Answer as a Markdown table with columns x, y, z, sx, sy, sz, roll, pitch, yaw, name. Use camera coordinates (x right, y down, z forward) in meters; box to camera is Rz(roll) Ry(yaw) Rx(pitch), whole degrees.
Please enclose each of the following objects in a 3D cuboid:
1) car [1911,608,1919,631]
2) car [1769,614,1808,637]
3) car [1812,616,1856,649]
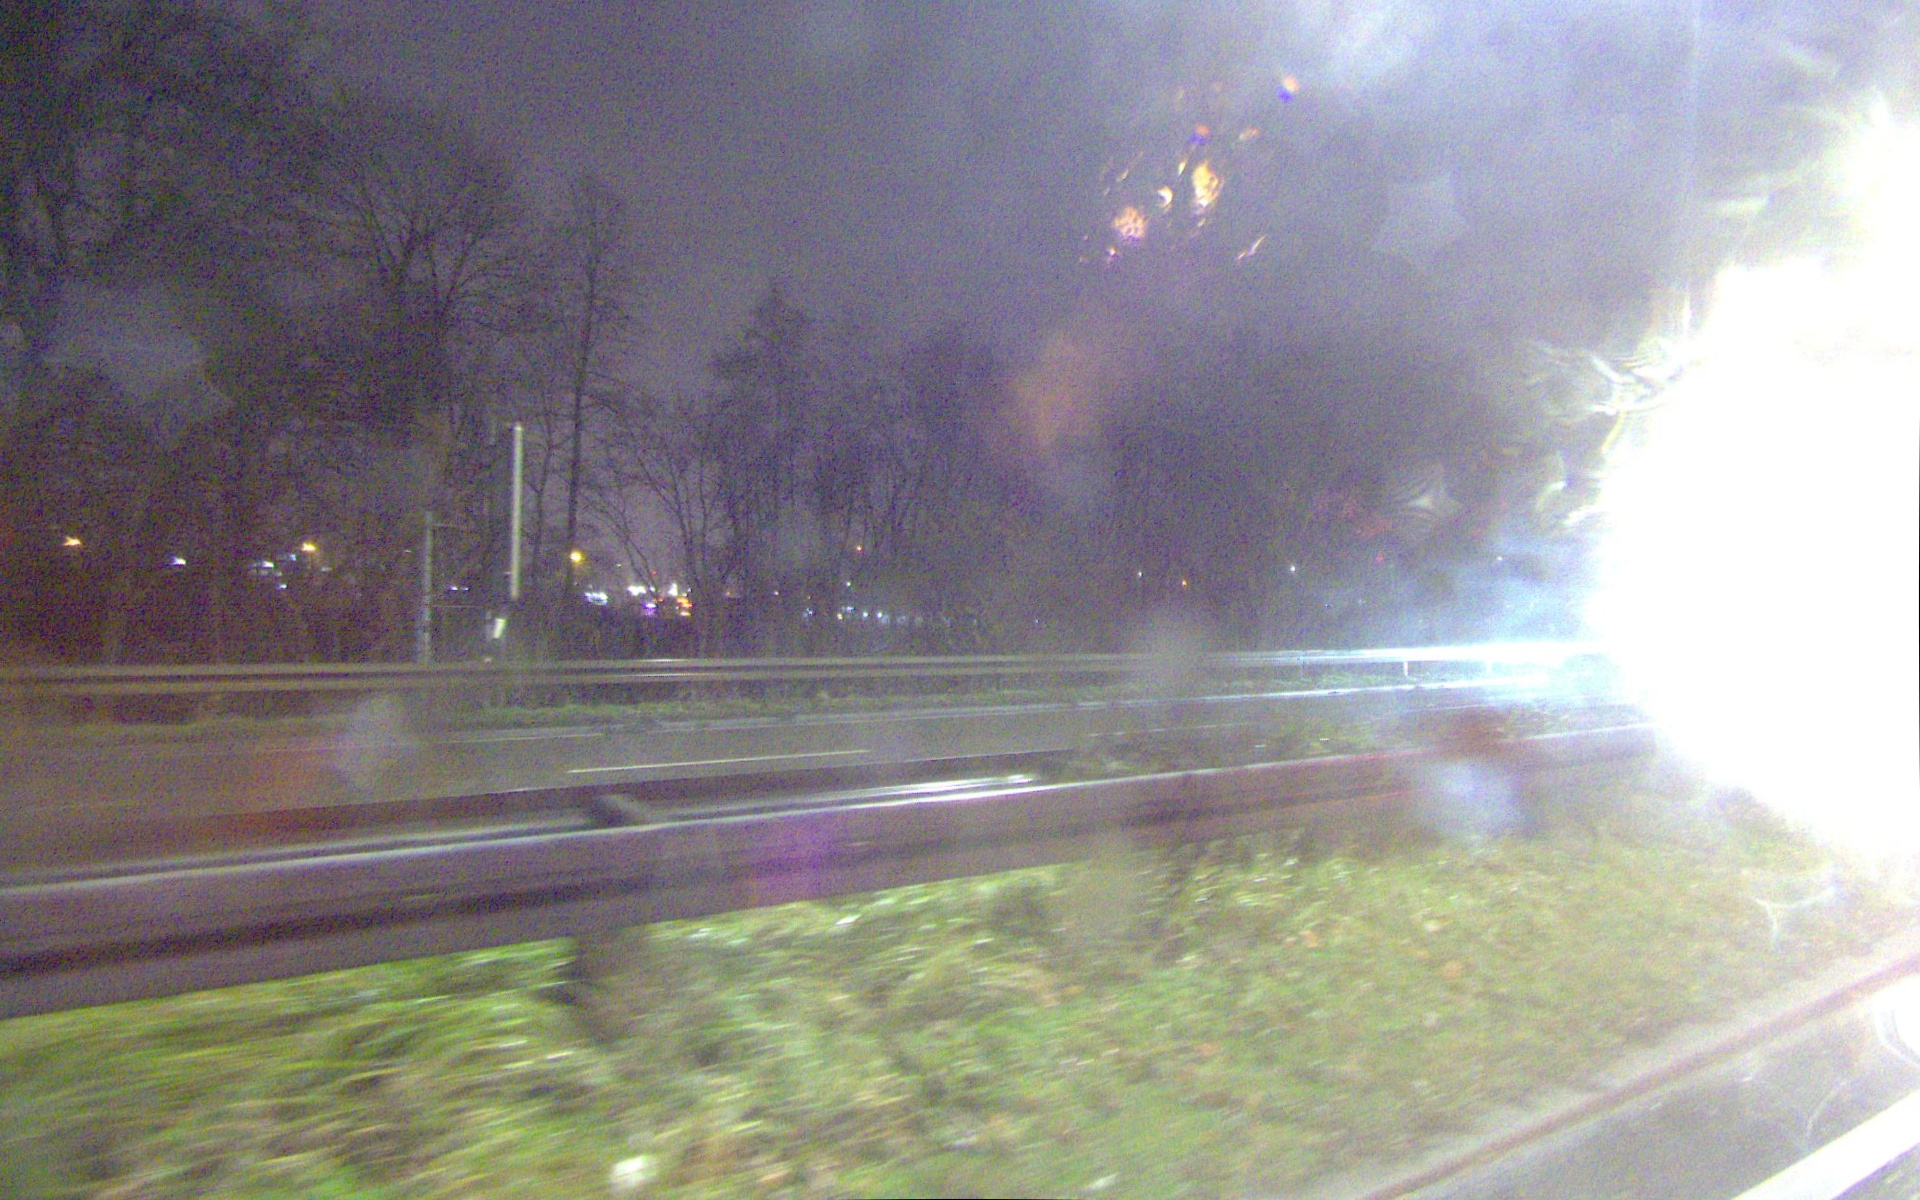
| x | y | z | sx | sy | sz | roll | pitch | yaw | name |
| --- | --- | --- | --- | --- | --- | --- | --- | --- | --- |
| 67.523 | 1.403 | 69.323 | 1.724 | 1.653 | 3.617 | 3 | 1 | 28 | car |
| 62.356 | 1.889 | 75.616 | 1.762 | 1.668 | 3.989 | 1 | 0 | 33 | car |
| 49.284 | 1.807 | 56.602 | 1.767 | 1.728 | 3.977 | 1 | 0 | 43 | car |
